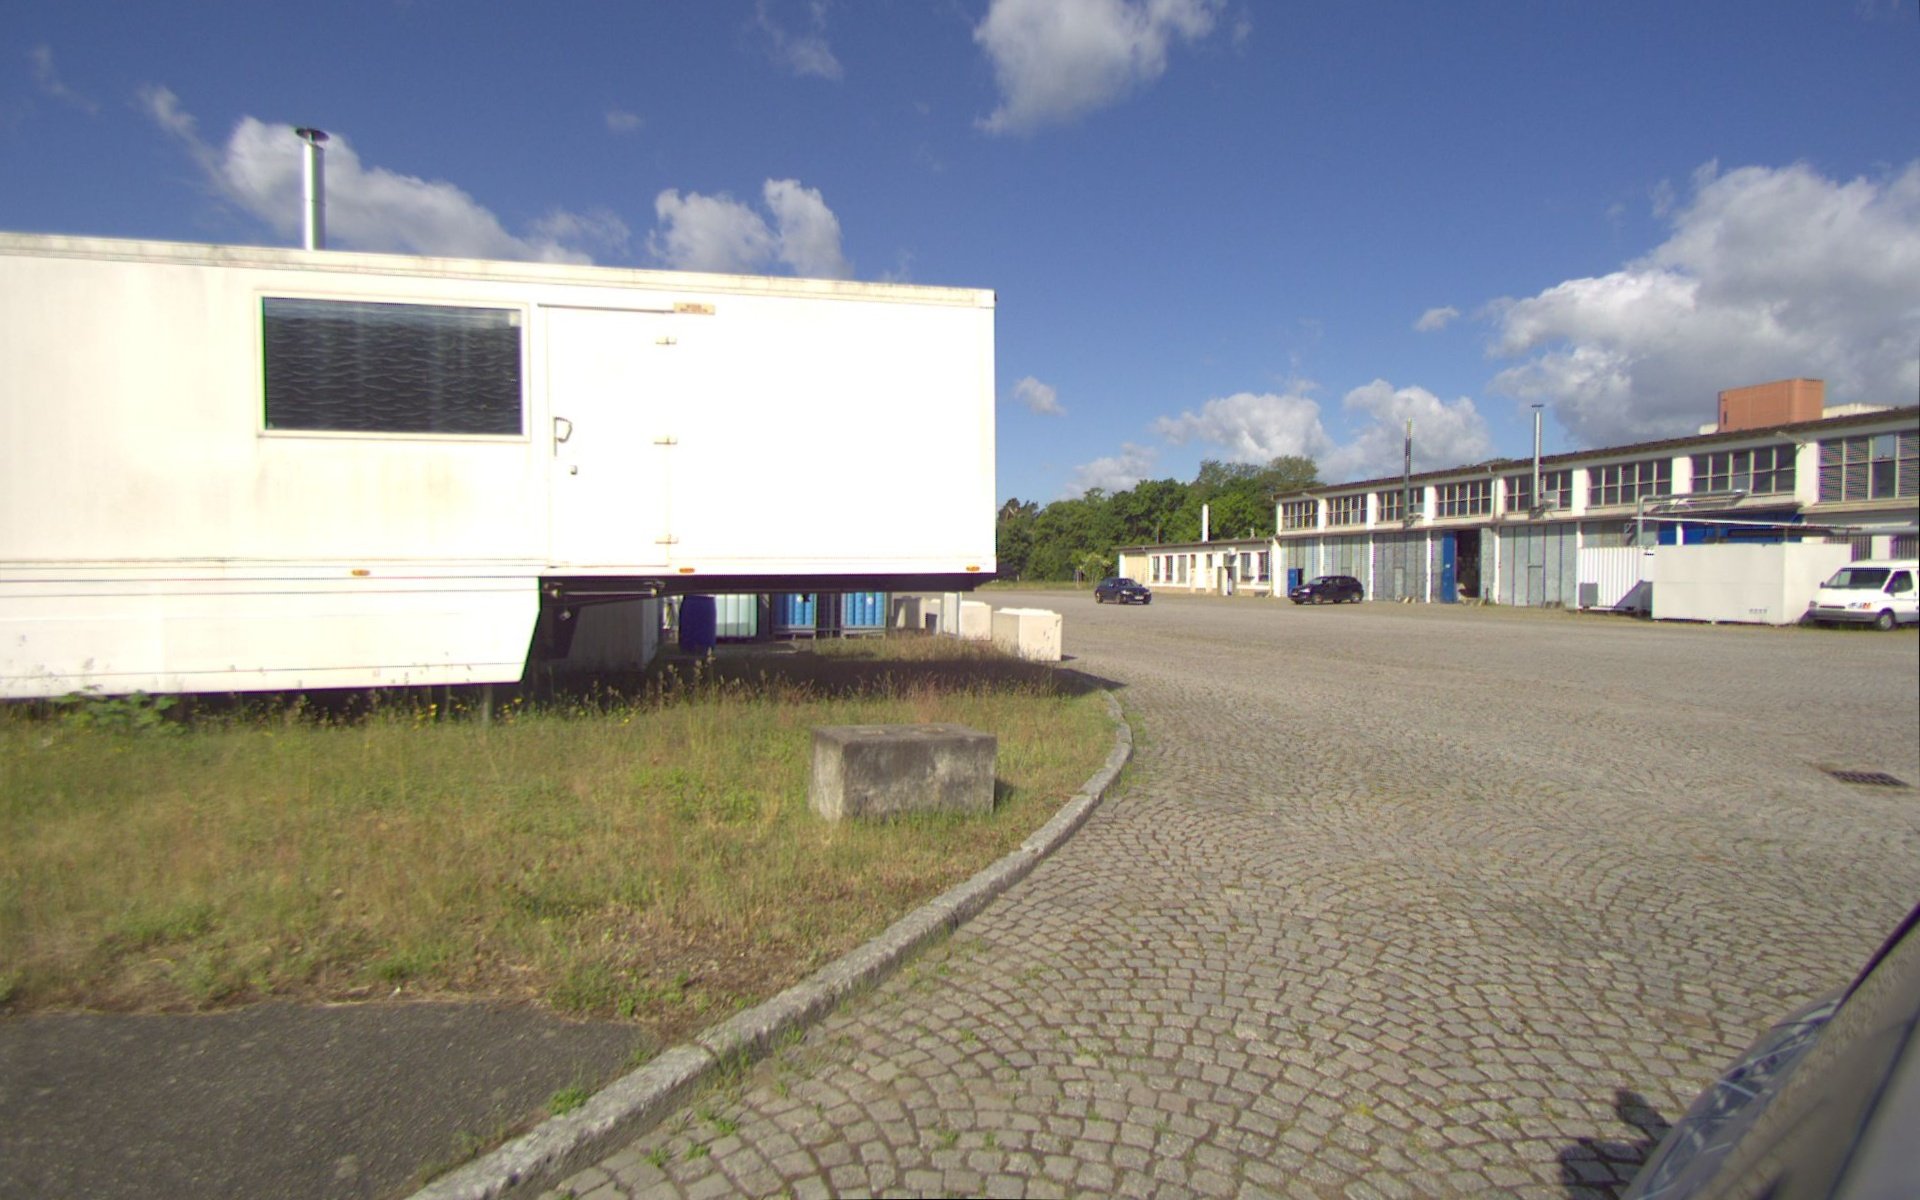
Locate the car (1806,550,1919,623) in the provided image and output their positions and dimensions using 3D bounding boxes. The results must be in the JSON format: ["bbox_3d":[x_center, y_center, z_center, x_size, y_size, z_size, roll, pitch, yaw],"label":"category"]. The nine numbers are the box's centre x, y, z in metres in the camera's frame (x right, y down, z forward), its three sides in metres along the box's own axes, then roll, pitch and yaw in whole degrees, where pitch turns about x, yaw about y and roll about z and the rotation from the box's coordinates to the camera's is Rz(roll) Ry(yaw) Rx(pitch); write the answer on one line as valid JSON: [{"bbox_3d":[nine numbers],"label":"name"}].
[{"bbox_3d":[28.630,-0.457,30.754,4.704,2.107,2.014,-1,1,-12],"label":"car"}]

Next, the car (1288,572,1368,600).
[{"bbox_3d":[20.801,-0.791,57.290,3.991,1.488,1.744,-1,1,-17],"label":"car"}]

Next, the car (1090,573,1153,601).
[{"bbox_3d":[8.702,-0.728,54.886,1.704,1.447,4.085,0,1,-18],"label":"car"}]

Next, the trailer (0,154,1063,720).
[{"bbox_3d":[-4.615,-1.177,9.016,10.658,3.959,2.787,0,1,-13],"label":"trailer"}]

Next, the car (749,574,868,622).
[{"bbox_3d":[-4.673,-0.087,31.169,3.400,1.393,1.615,0,1,-19],"label":"car"}]
